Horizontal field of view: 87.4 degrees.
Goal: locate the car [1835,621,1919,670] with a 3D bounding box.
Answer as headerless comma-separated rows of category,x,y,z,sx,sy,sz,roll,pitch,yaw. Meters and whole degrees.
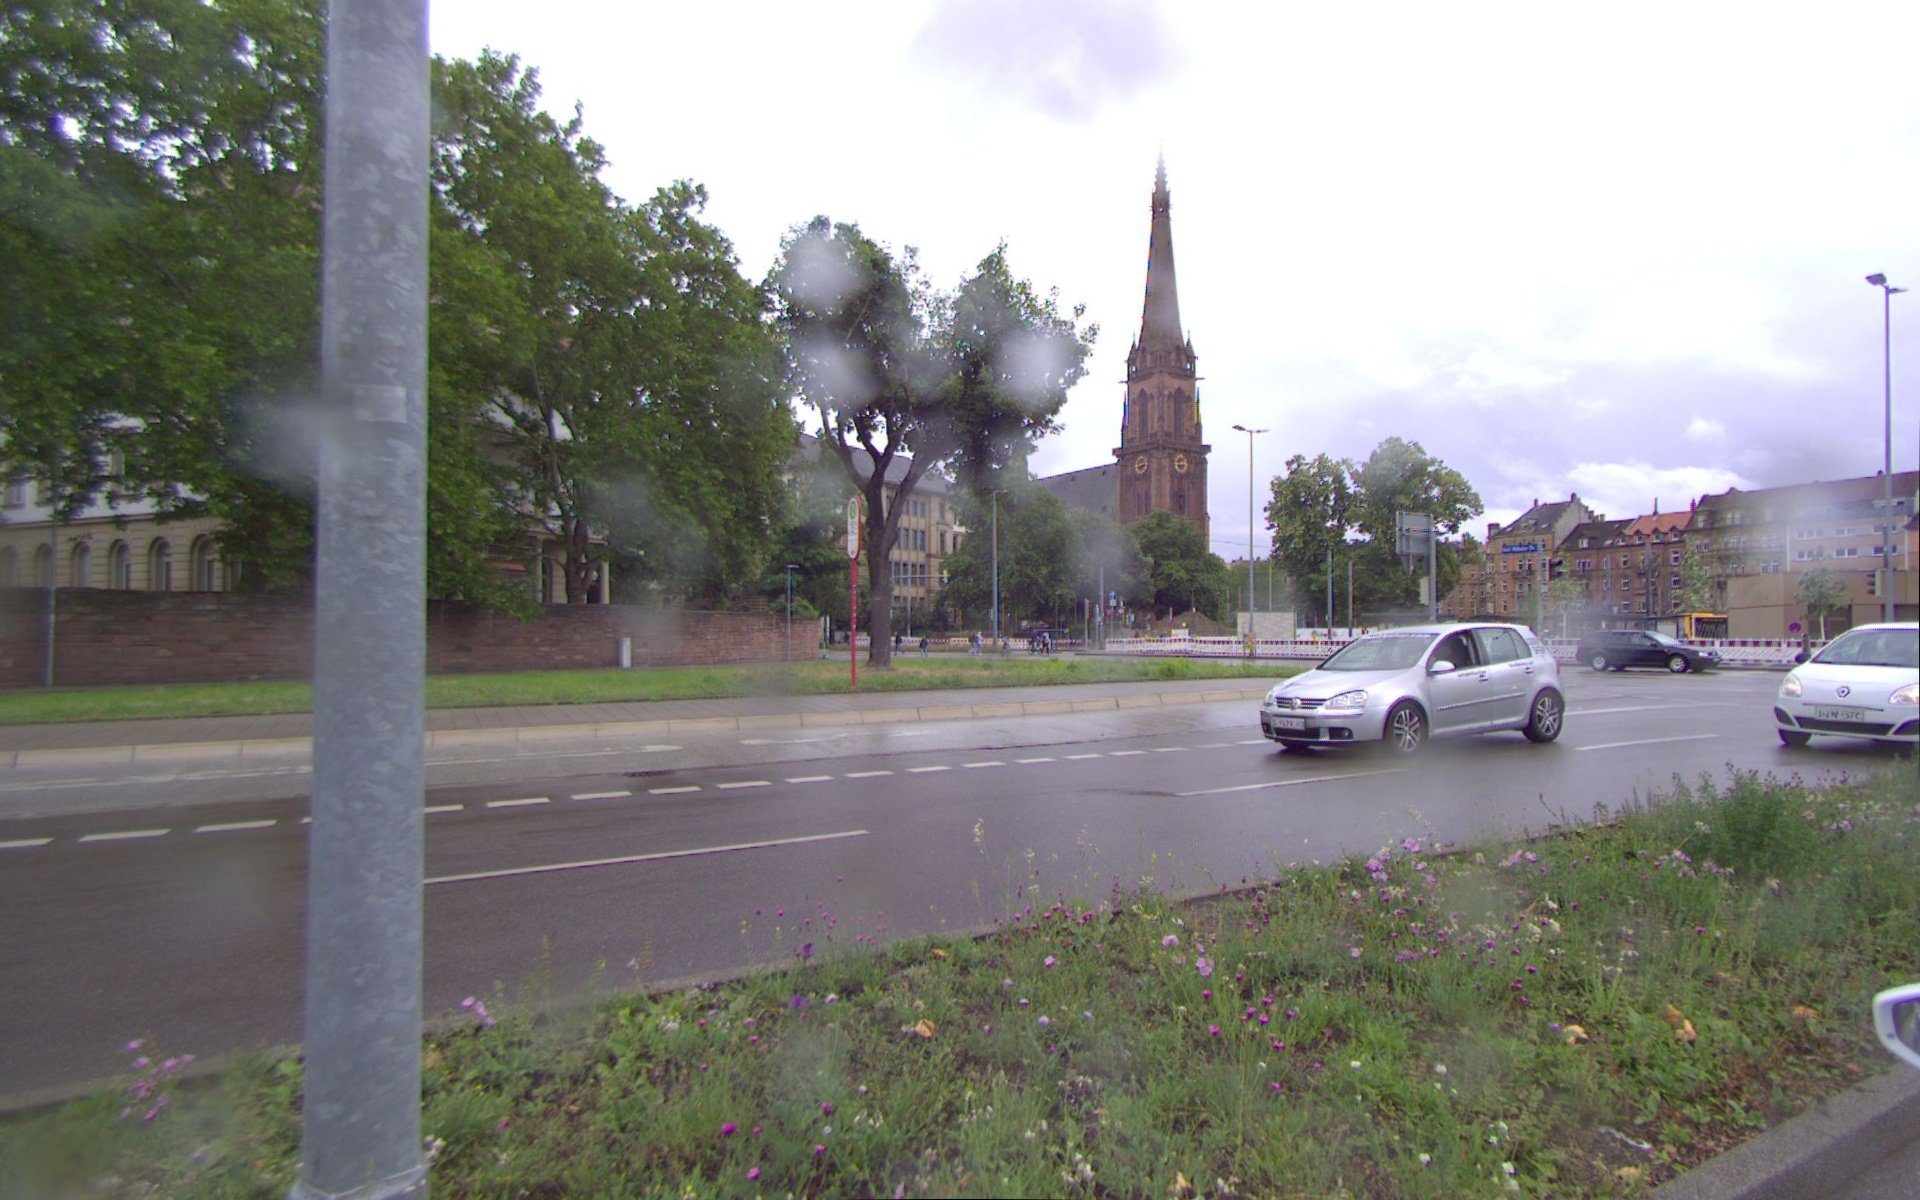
car,34.183,1.631,36.144,3.752,1.728,1.708,-1,-1,30

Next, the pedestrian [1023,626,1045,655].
pedestrian,5.210,2.825,70.703,0.982,2.040,1.304,-1,-1,37

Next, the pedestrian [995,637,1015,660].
pedestrian,3.051,3.285,68.067,0.918,1.560,1.056,-1,-2,37

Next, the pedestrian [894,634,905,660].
pedestrian,-4.442,3.421,73.233,0.596,1.915,0.601,1,-1,-32

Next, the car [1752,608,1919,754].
car,11.415,0.901,12.022,3.821,1.521,1.672,1,-2,-29

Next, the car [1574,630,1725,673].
car,24.479,1.776,35.828,1.600,1.421,4.168,1,-2,-32

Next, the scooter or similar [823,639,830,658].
scooter or similar,-7.831,2.839,58.777,0.273,1.096,1.078,0,-1,-1

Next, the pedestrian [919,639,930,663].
pedestrian,-2.264,3.298,64.642,0.661,1.520,0.775,0,-1,3

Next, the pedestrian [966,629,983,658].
pedestrian,1.014,3.085,71.691,0.944,2.040,0.853,1,-1,-27

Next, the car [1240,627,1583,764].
car,5.533,1.061,12.215,4.107,1.423,1.672,1,-2,-29

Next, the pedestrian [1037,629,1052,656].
pedestrian,5.692,2.862,67.797,0.764,1.801,0.721,1,-1,-27

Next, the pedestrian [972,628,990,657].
pedestrian,1.486,2.991,70.867,0.944,2.040,0.853,1,-1,-27
